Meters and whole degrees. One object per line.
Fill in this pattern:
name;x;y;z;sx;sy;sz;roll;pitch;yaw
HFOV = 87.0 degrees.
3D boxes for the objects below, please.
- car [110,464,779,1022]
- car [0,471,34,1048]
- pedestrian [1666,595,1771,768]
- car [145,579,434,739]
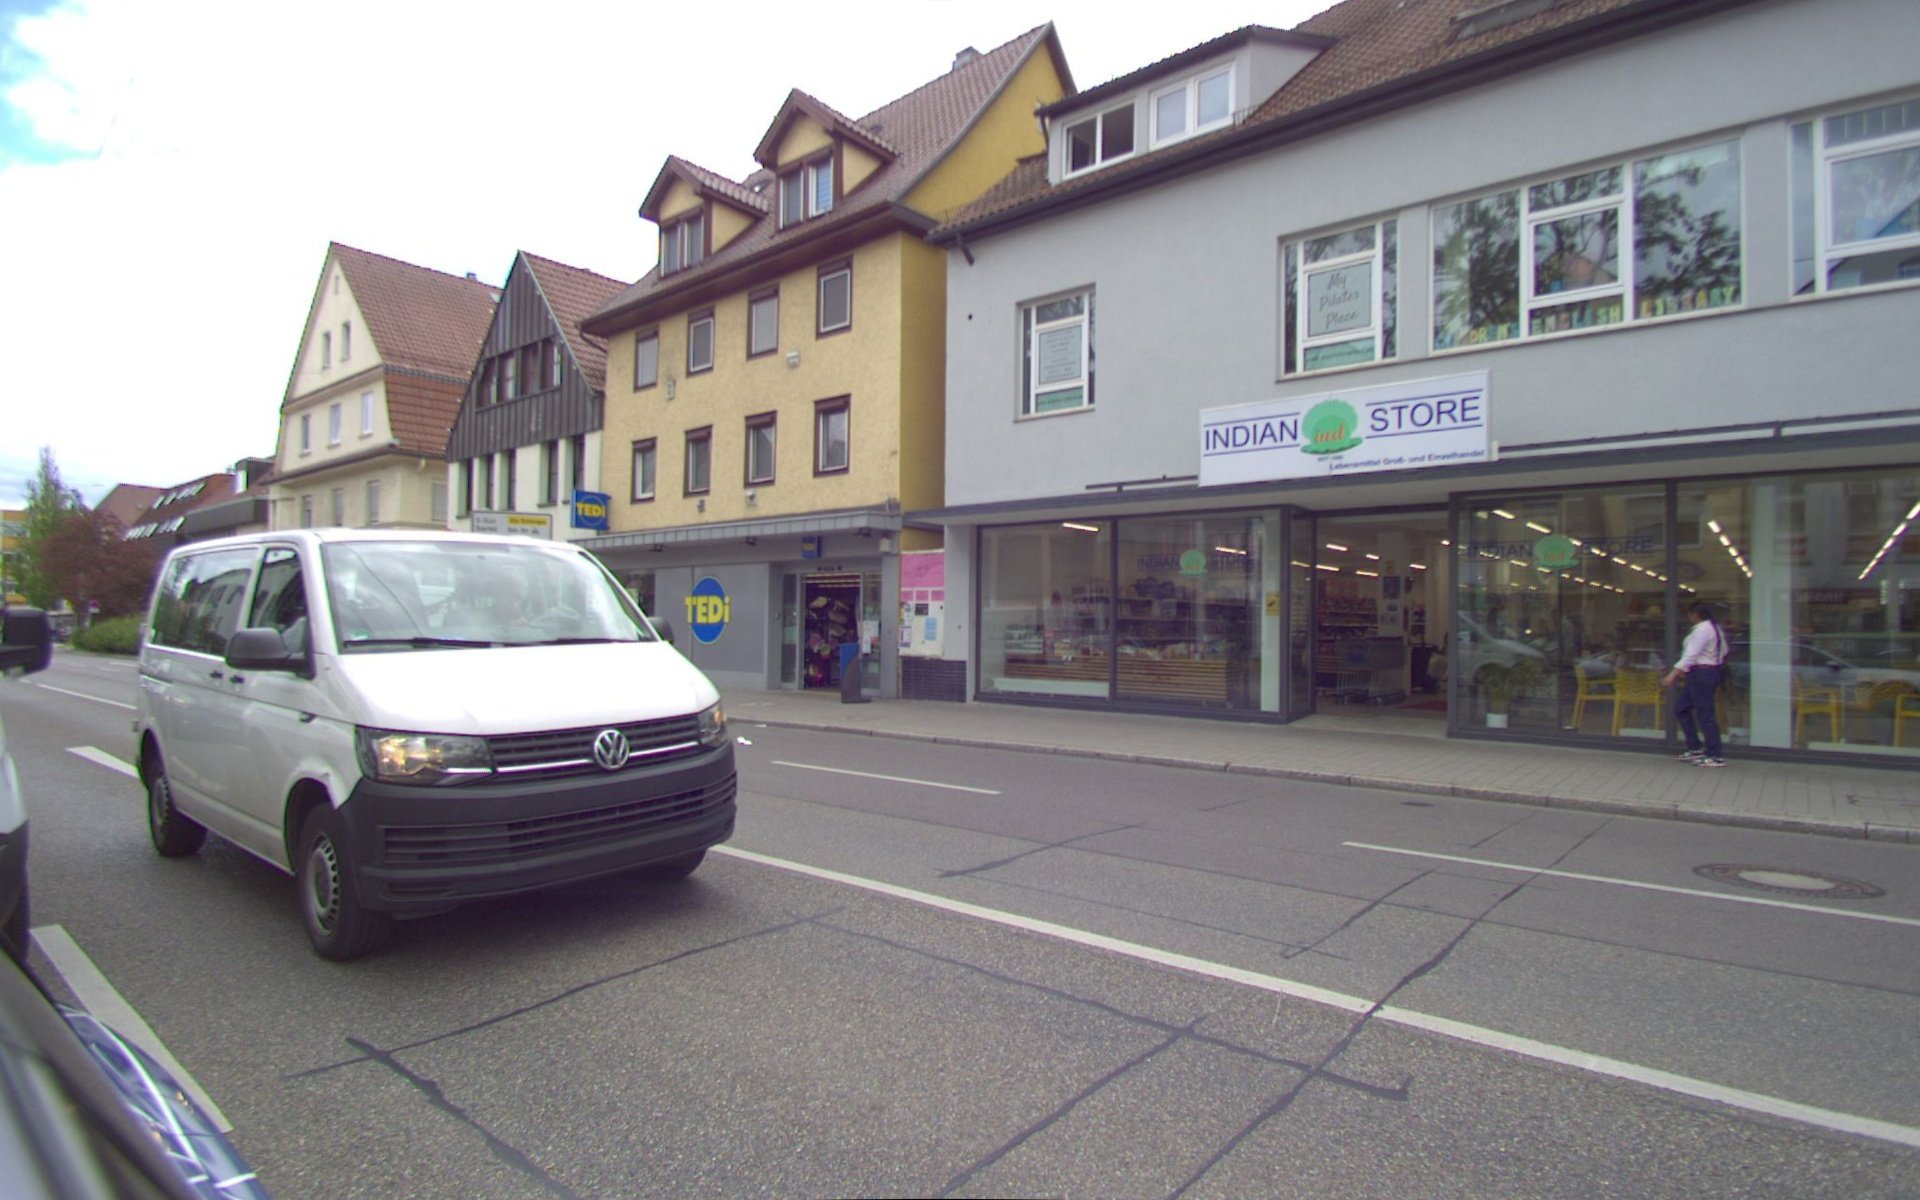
car;-3.291;0.573;5.886;4.850;1.974;1.806;-2;-2;41
car;-5.809;0.589;4.472;5.161;1.974;1.939;-1;-1;41
pedestrian;7.520;0.781;10.038;0.752;1.622;0.720;-2;-2;41
car;-9.671;0.793;14.420;5.153;1.902;1.973;-2;-3;40
